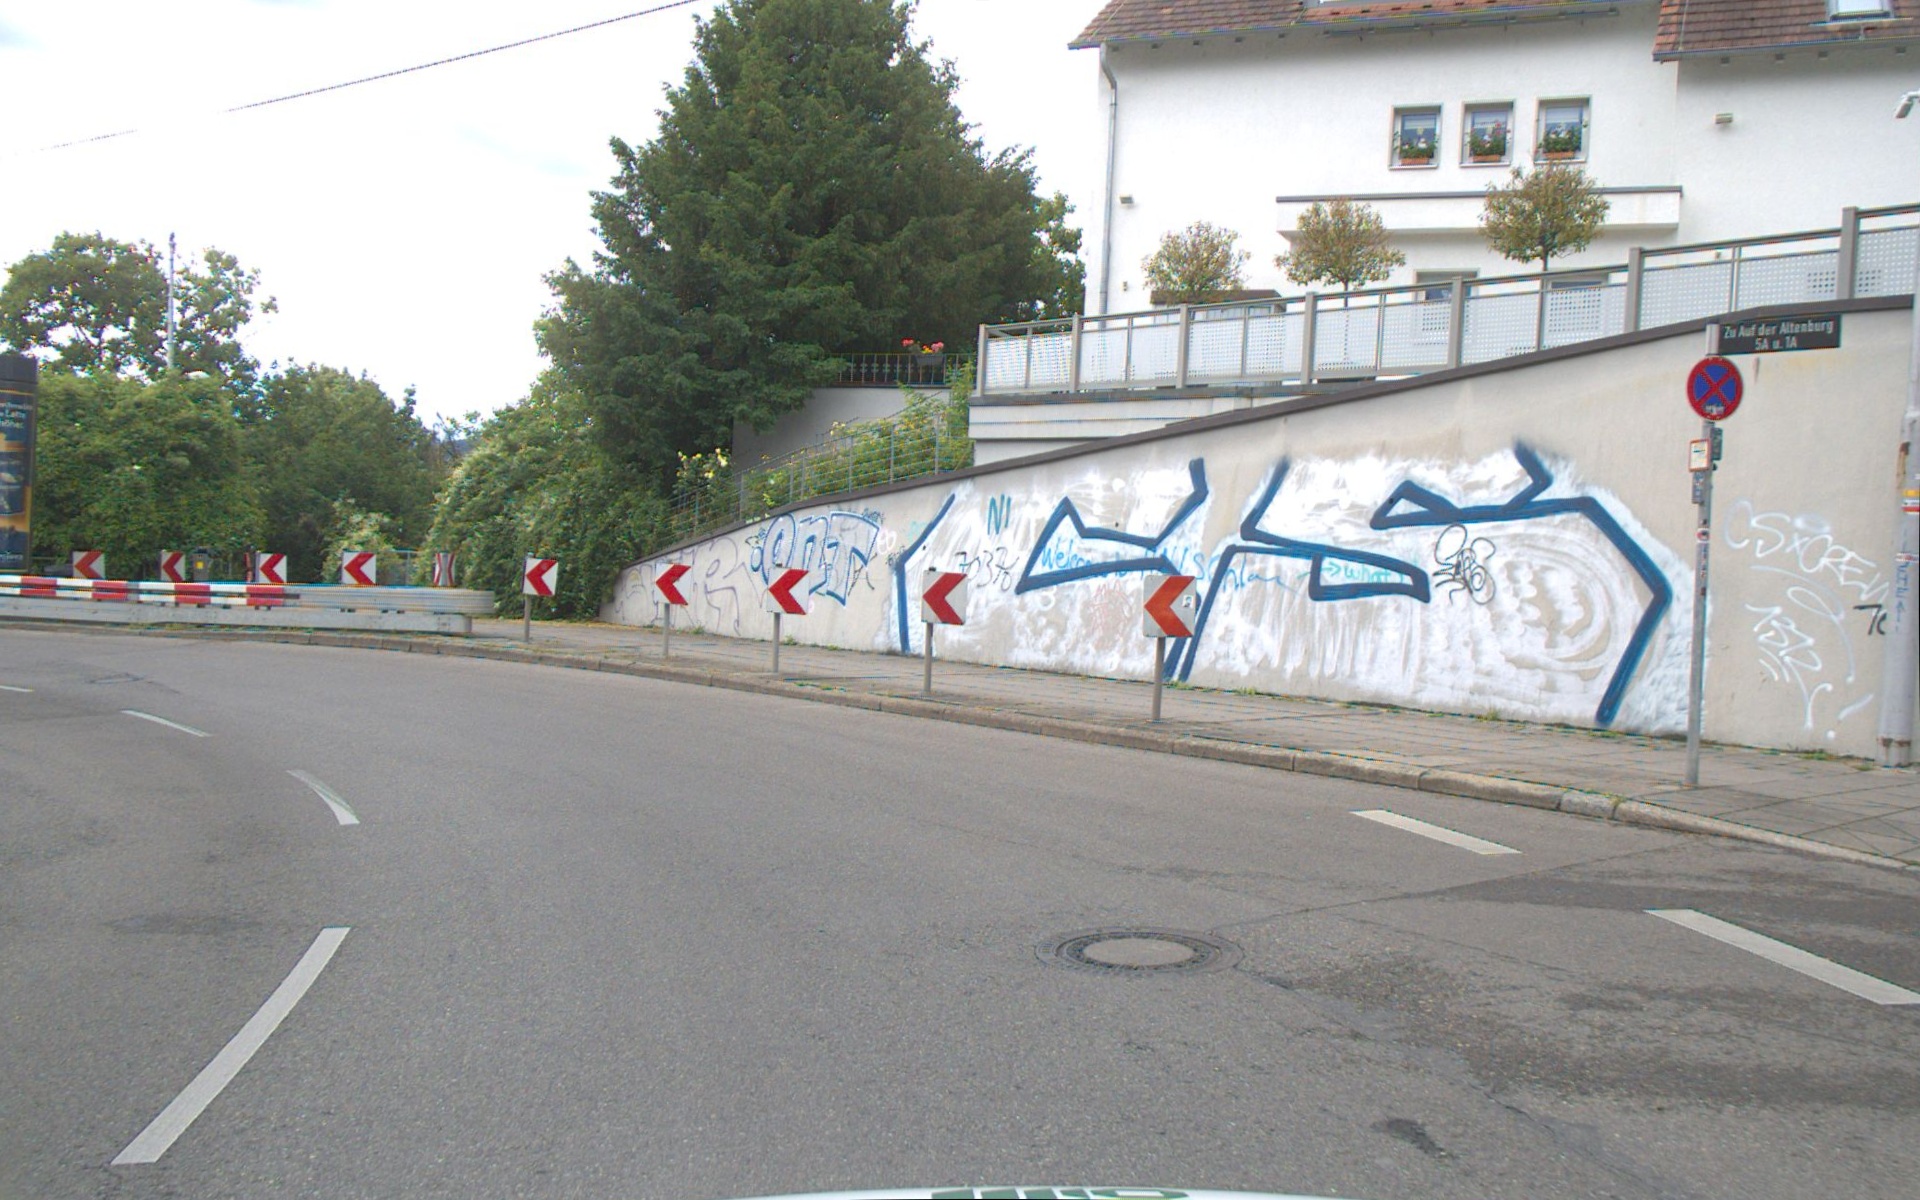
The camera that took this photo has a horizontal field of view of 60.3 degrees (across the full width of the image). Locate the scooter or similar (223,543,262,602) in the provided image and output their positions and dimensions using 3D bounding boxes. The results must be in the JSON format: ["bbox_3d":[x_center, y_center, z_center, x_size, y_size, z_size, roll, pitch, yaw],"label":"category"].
[{"bbox_3d":[-16.020,-0.626,36.956,0.427,1.272,1.498,1,2,-10],"label":"scooter or similar"}]
